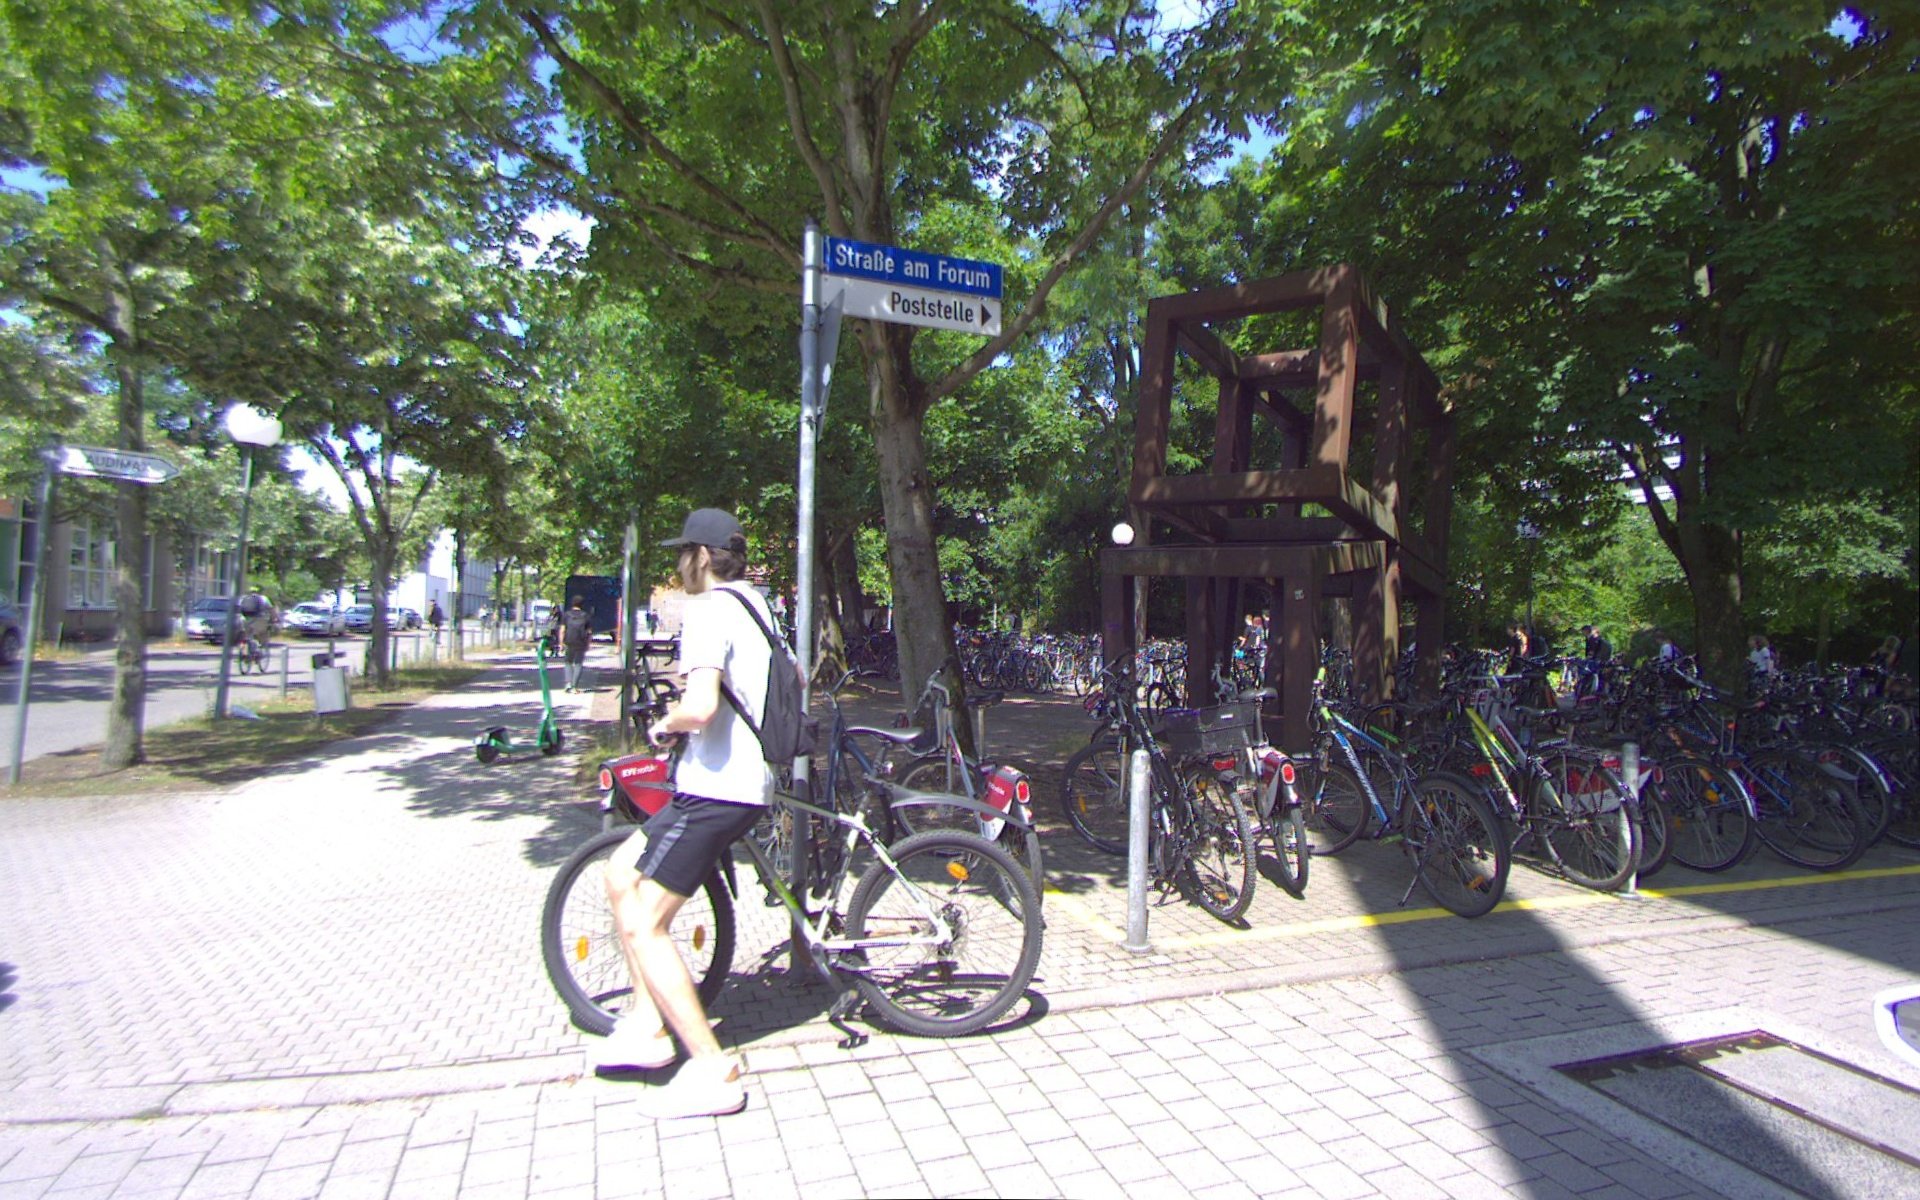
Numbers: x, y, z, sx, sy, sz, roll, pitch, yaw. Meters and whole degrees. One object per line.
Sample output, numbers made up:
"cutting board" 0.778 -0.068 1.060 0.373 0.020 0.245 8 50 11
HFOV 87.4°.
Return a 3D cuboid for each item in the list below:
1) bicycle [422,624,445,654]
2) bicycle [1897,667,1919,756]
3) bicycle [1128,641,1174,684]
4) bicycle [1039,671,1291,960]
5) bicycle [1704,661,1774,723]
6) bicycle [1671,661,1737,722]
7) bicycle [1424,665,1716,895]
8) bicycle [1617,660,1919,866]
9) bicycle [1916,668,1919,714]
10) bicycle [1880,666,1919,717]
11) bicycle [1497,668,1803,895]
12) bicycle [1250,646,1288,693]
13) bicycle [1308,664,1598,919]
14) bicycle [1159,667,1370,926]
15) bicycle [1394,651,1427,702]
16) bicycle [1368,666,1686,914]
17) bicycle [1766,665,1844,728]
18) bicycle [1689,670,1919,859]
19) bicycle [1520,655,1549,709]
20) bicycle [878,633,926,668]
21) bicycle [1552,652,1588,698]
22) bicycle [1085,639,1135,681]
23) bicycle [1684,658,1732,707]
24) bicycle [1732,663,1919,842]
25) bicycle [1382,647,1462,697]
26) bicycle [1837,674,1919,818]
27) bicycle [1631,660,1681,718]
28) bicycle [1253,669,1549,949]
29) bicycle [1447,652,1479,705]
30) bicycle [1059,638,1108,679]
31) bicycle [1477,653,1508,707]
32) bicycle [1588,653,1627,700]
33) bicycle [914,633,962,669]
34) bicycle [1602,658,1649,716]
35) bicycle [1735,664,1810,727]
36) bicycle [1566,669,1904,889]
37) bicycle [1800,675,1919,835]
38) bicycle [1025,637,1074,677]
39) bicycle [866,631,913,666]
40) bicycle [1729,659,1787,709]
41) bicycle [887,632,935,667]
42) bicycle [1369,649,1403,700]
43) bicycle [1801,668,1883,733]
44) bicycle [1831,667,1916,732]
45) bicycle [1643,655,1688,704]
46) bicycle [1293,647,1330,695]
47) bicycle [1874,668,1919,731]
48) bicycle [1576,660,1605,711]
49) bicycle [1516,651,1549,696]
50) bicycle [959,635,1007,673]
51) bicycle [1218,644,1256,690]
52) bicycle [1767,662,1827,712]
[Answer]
"bicycle" -20.557 1.515 39.259 0.661 1.122 2.060 1 -2 -25
"bicycle" 13.712 1.574 13.999 0.565 1.215 1.696 2 -1 31
"bicycle" 5.094 1.655 26.735 0.466 1.098 1.693 2 -1 37
"bicycle" 0.950 0.965 5.074 0.489 1.123 1.623 0 -1 -19
"bicycle" 15.543 1.813 20.081 0.464 1.098 1.700 2 -1 15
"bicycle" 15.043 1.827 20.348 0.464 1.098 1.700 2 -1 15
"bicycle" 3.650 1.017 6.182 0.497 1.122 1.625 3 -1 -14
"bicycle" 5.517 1.052 6.971 0.489 1.166 1.623 3 -1 -19
"bicycle" 23.410 2.209 23.741 0.465 1.125 1.778 2 -1 19
"bicycle" 22.412 2.150 23.617 0.465 1.125 1.778 2 -1 19
"bicycle" 4.193 1.044 6.259 0.489 1.122 1.625 3 -1 -14
"bicycle" 7.654 1.689 24.841 0.466 1.098 1.696 2 -1 31
"bicycle" 2.660 0.973 5.632 0.489 1.122 1.625 3 -1 -14
"bicycle" 1.599 0.974 5.541 0.488 1.123 1.628 0 -1 -7
"bicycle" 10.335 1.725 23.011 0.466 1.098 1.696 2 -1 31
"bicycle" 3.180 1.005 5.824 0.619 1.122 1.625 3 -1 -15
"bicycle" 16.421 1.850 19.566 0.464 1.098 1.700 2 -1 15
"bicycle" 6.258 1.118 7.135 0.636 1.122 1.620 3 -1 -24
"bicycle" 12.496 1.763 21.834 0.466 1.098 1.696 2 -1 31
"bicycle" -1.895 1.660 32.966 0.467 1.098 1.691 2 -1 41
"bicycle" 16.224 1.979 26.761 0.507 1.125 1.777 2 -1 22
"bicycle" 4.091 1.629 27.301 0.467 1.098 1.691 2 -1 41
"bicycle" 18.720 2.050 25.171 0.507 1.125 1.777 2 -1 22
"bicycle" 6.830 1.114 7.396 0.490 1.177 1.774 3 -1 -24
"bicycle" 11.261 1.744 24.496 1.669 1.098 0.603 2 -1 30
"bicycle" 8.148 1.216 7.965 0.706 1.122 1.724 3 -1 -8
"bicycle" 14.354 1.812 20.753 0.465 1.098 1.699 2 -1 23
"bicycle" 2.197 0.982 5.248 0.489 1.122 1.625 3 -1 -14
"bicycle" 11.275 1.743 22.490 0.466 1.098 1.696 2 -1 31
"bicycle" 3.482 1.642 28.160 0.467 1.098 1.691 2 -1 41
"bicycle" 11.748 1.743 22.142 0.466 1.098 1.696 2 -1 31
"bicycle" 16.930 1.974 26.289 0.507 1.125 1.777 2 -1 22
"bicycle" -0.695 1.624 31.927 0.467 1.098 1.691 2 -1 41
"bicycle" 13.909 1.804 21.021 0.465 1.098 1.699 2 -1 23
"bicycle" 15.917 1.840 19.717 0.464 1.098 1.700 2 -1 15
"bicycle" 4.872 1.066 6.466 0.679 1.122 1.625 3 -1 -14
"bicycle" 7.327 1.177 7.445 0.490 1.122 1.620 3 -1 -24
"bicycle" 2.587 1.638 28.999 0.467 1.098 1.691 2 -1 41
"bicycle" -2.330 1.616 33.358 0.467 1.098 1.691 2 -1 41
"bicycle" 19.688 2.056 24.814 0.507 1.125 1.778 2 -1 19
"bicycle" -1.580 1.614 32.560 0.467 1.098 1.691 2 -1 41
"bicycle" 9.868 1.707 23.255 0.466 1.098 1.696 2 -1 31
"bicycle" 16.929 1.903 19.324 0.464 1.098 1.700 2 -1 15
"bicycle" 17.450 1.869 19.228 0.464 1.098 1.700 2 -1 15
"bicycle" 17.917 1.996 25.536 0.507 1.125 1.777 2 -1 22
"bicycle" 8.496 1.700 24.262 0.466 1.098 1.696 2 -1 31
"bicycle" 18.035 1.884 18.926 0.464 1.098 1.700 2 -1 15
"bicycle" 13.172 1.771 21.000 0.444 0.974 1.736 2 -1 31
"bicycle" 15.357 1.946 26.980 0.507 1.125 1.777 2 -1 22
"bicycle" 0.706 1.618 30.364 0.467 1.098 1.691 2 -1 41
"bicycle" 7.004 1.681 25.350 0.466 1.098 1.696 2 -1 31
"bicycle" 20.537 2.115 24.683 0.507 1.125 1.778 2 -1 19
